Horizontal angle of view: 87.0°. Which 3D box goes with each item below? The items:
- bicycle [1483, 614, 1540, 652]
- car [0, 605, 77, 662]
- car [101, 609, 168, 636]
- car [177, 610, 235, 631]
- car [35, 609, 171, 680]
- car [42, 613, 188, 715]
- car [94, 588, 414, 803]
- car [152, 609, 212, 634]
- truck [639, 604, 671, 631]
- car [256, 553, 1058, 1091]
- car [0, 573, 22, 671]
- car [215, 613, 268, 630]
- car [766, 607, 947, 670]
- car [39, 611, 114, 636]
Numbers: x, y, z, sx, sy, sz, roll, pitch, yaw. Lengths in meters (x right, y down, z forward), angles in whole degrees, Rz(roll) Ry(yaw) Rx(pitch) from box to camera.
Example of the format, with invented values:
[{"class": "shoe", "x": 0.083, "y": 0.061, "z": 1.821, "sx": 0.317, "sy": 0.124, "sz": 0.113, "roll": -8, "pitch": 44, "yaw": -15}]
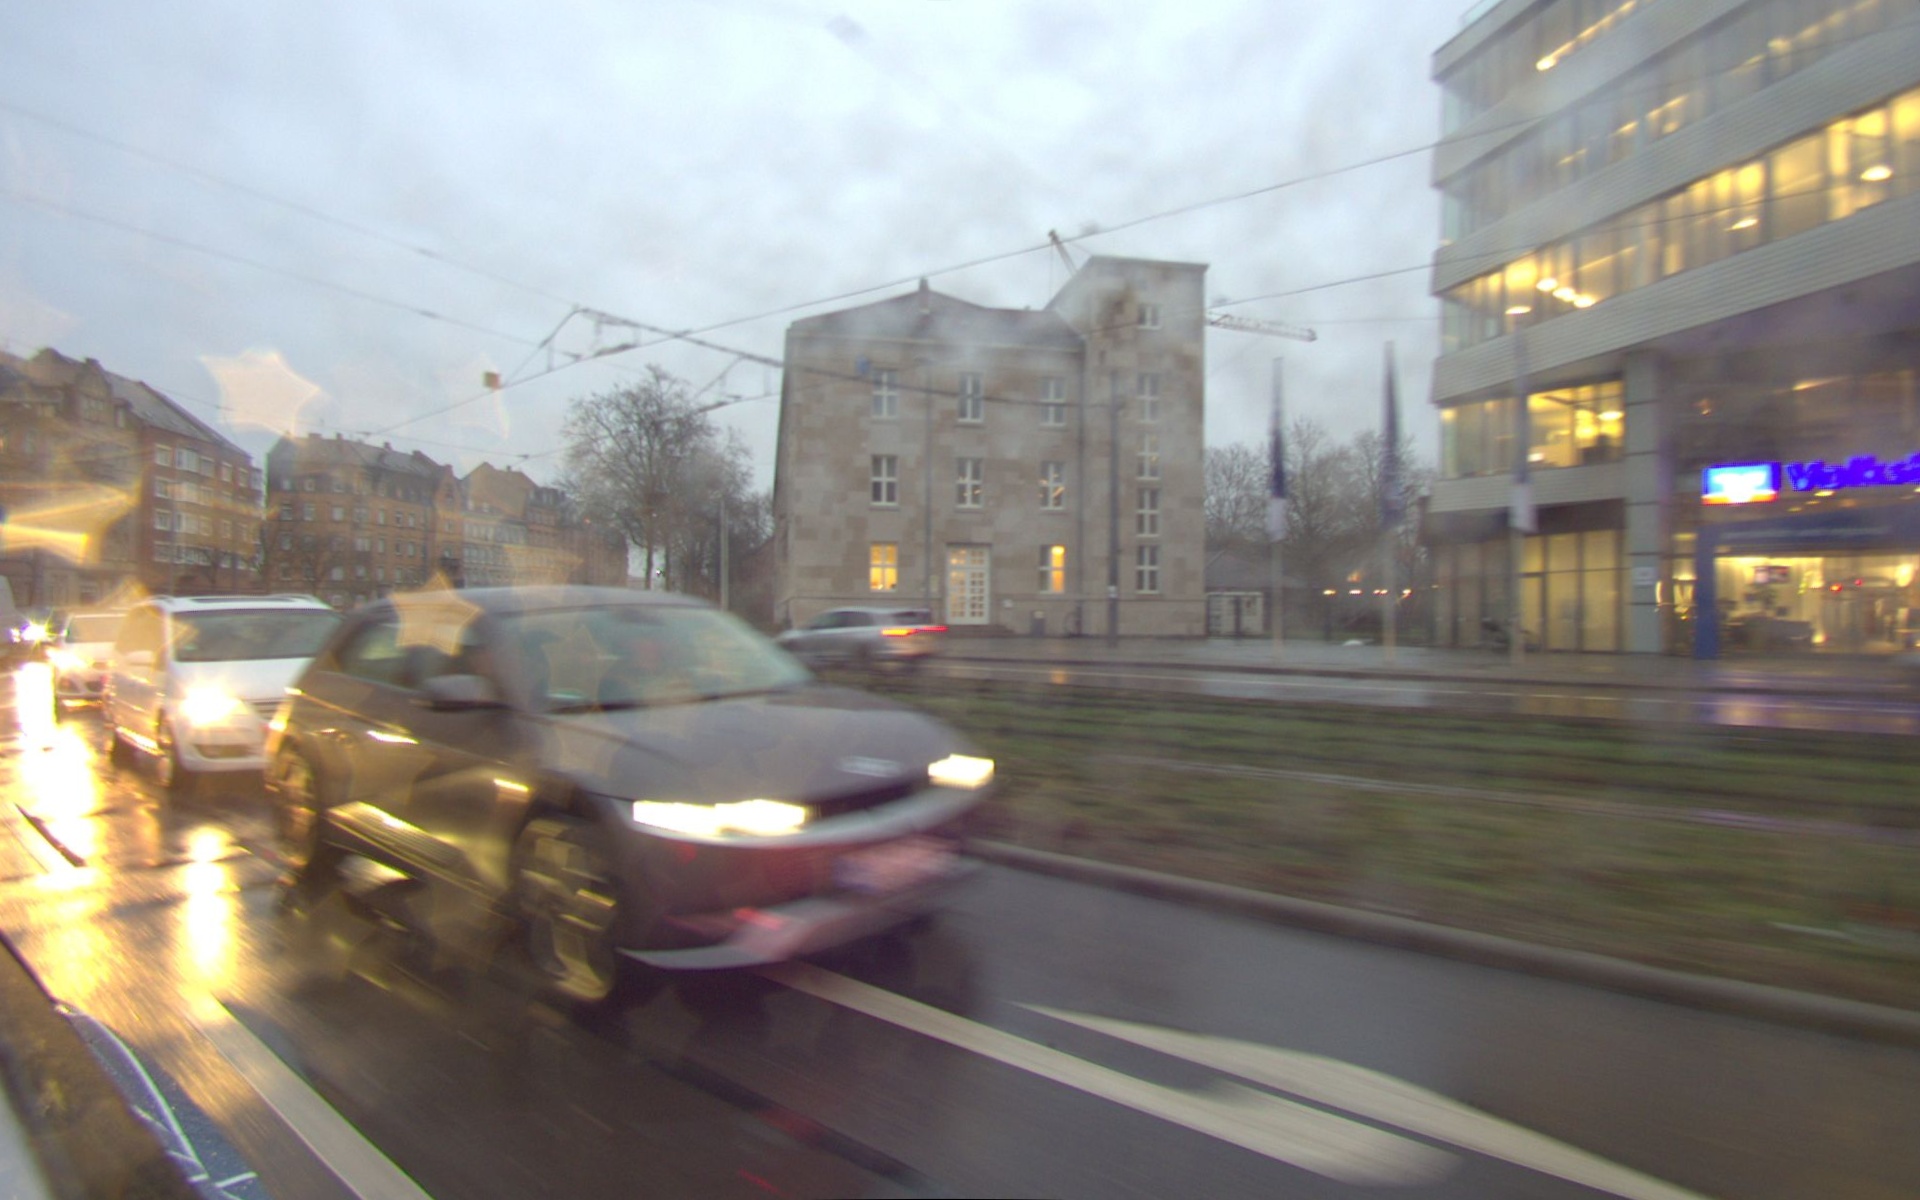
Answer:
[{"class": "bicycle", "x": 16.440, "y": 0.981, "z": 30.171, "sx": 1.473, "sy": 1.136, "sz": 0.529, "roll": 0, "pitch": -1, "yaw": -9}, {"class": "car", "x": -29.844, "y": 1.028, "z": 32.285, "sx": 1.846, "sy": 1.701, "sz": 4.183, "roll": 0, "pitch": -1, "yaw": -32}, {"class": "car", "x": -51.739, "y": 1.391, "z": 63.501, "sx": 3.133, "sy": 1.636, "sz": 1.432, "roll": 1, "pitch": -1, "yaw": -34}, {"class": "car", "x": -53.469, "y": 1.446, "z": 71.807, "sx": 3.133, "sy": 1.424, "sz": 1.386, "roll": 1, "pitch": -1, "yaw": -32}, {"class": "car", "x": -19.909, "y": 0.992, "z": 23.700, "sx": 1.846, "sy": 1.486, "sz": 4.182, "roll": 0, "pitch": -1, "yaw": -32}, {"class": "car", "x": -13.665, "y": 0.937, "z": 16.329, "sx": 1.665, "sy": 1.441, "sz": 3.351, "roll": 0, "pitch": -1, "yaw": -42}, {"class": "car", "x": -6.869, "y": 0.754, "z": 9.659, "sx": 4.223, "sy": 1.611, "sz": 1.653, "roll": -1, "pitch": -2, "yaw": 43}, {"class": "car", "x": -53.000, "y": 1.477, "z": 68.980, "sx": 3.133, "sy": 1.636, "sz": 1.450, "roll": 1, "pitch": -1, "yaw": -34}, {"class": "truck", "x": -23.567, "y": 1.373, "z": 78.284, "sx": 1.809, "sy": 2.060, "sz": 4.008, "roll": 0, "pitch": -1, "yaw": -9}, {"class": "car", "x": -1.806, "y": 0.689, "z": 5.100, "sx": 4.359, "sy": 1.582, "sz": 1.802, "roll": -1, "pitch": -1, "yaw": 40}, {"class": "car", "x": -25.047, "y": 0.551, "z": 24.829, "sx": 2.206, "sy": 2.481, "sz": 5.684, "roll": 0, "pitch": -1, "yaw": -35}, {"class": "car", "x": -53.839, "y": 1.628, "z": 75.920, "sx": 3.133, "sy": 1.293, "sz": 1.386, "roll": 1, "pitch": -1, "yaw": -32}, {"class": "car", "x": -2.550, "y": 0.876, "z": 24.269, "sx": 4.471, "sy": 1.397, "sz": 1.624, "roll": -1, "pitch": -1, "yaw": 39}, {"class": "car", "x": -52.081, "y": 1.408, "z": 59.730, "sx": 3.133, "sy": 1.440, "sz": 1.432, "roll": 1, "pitch": -1, "yaw": -34}]
